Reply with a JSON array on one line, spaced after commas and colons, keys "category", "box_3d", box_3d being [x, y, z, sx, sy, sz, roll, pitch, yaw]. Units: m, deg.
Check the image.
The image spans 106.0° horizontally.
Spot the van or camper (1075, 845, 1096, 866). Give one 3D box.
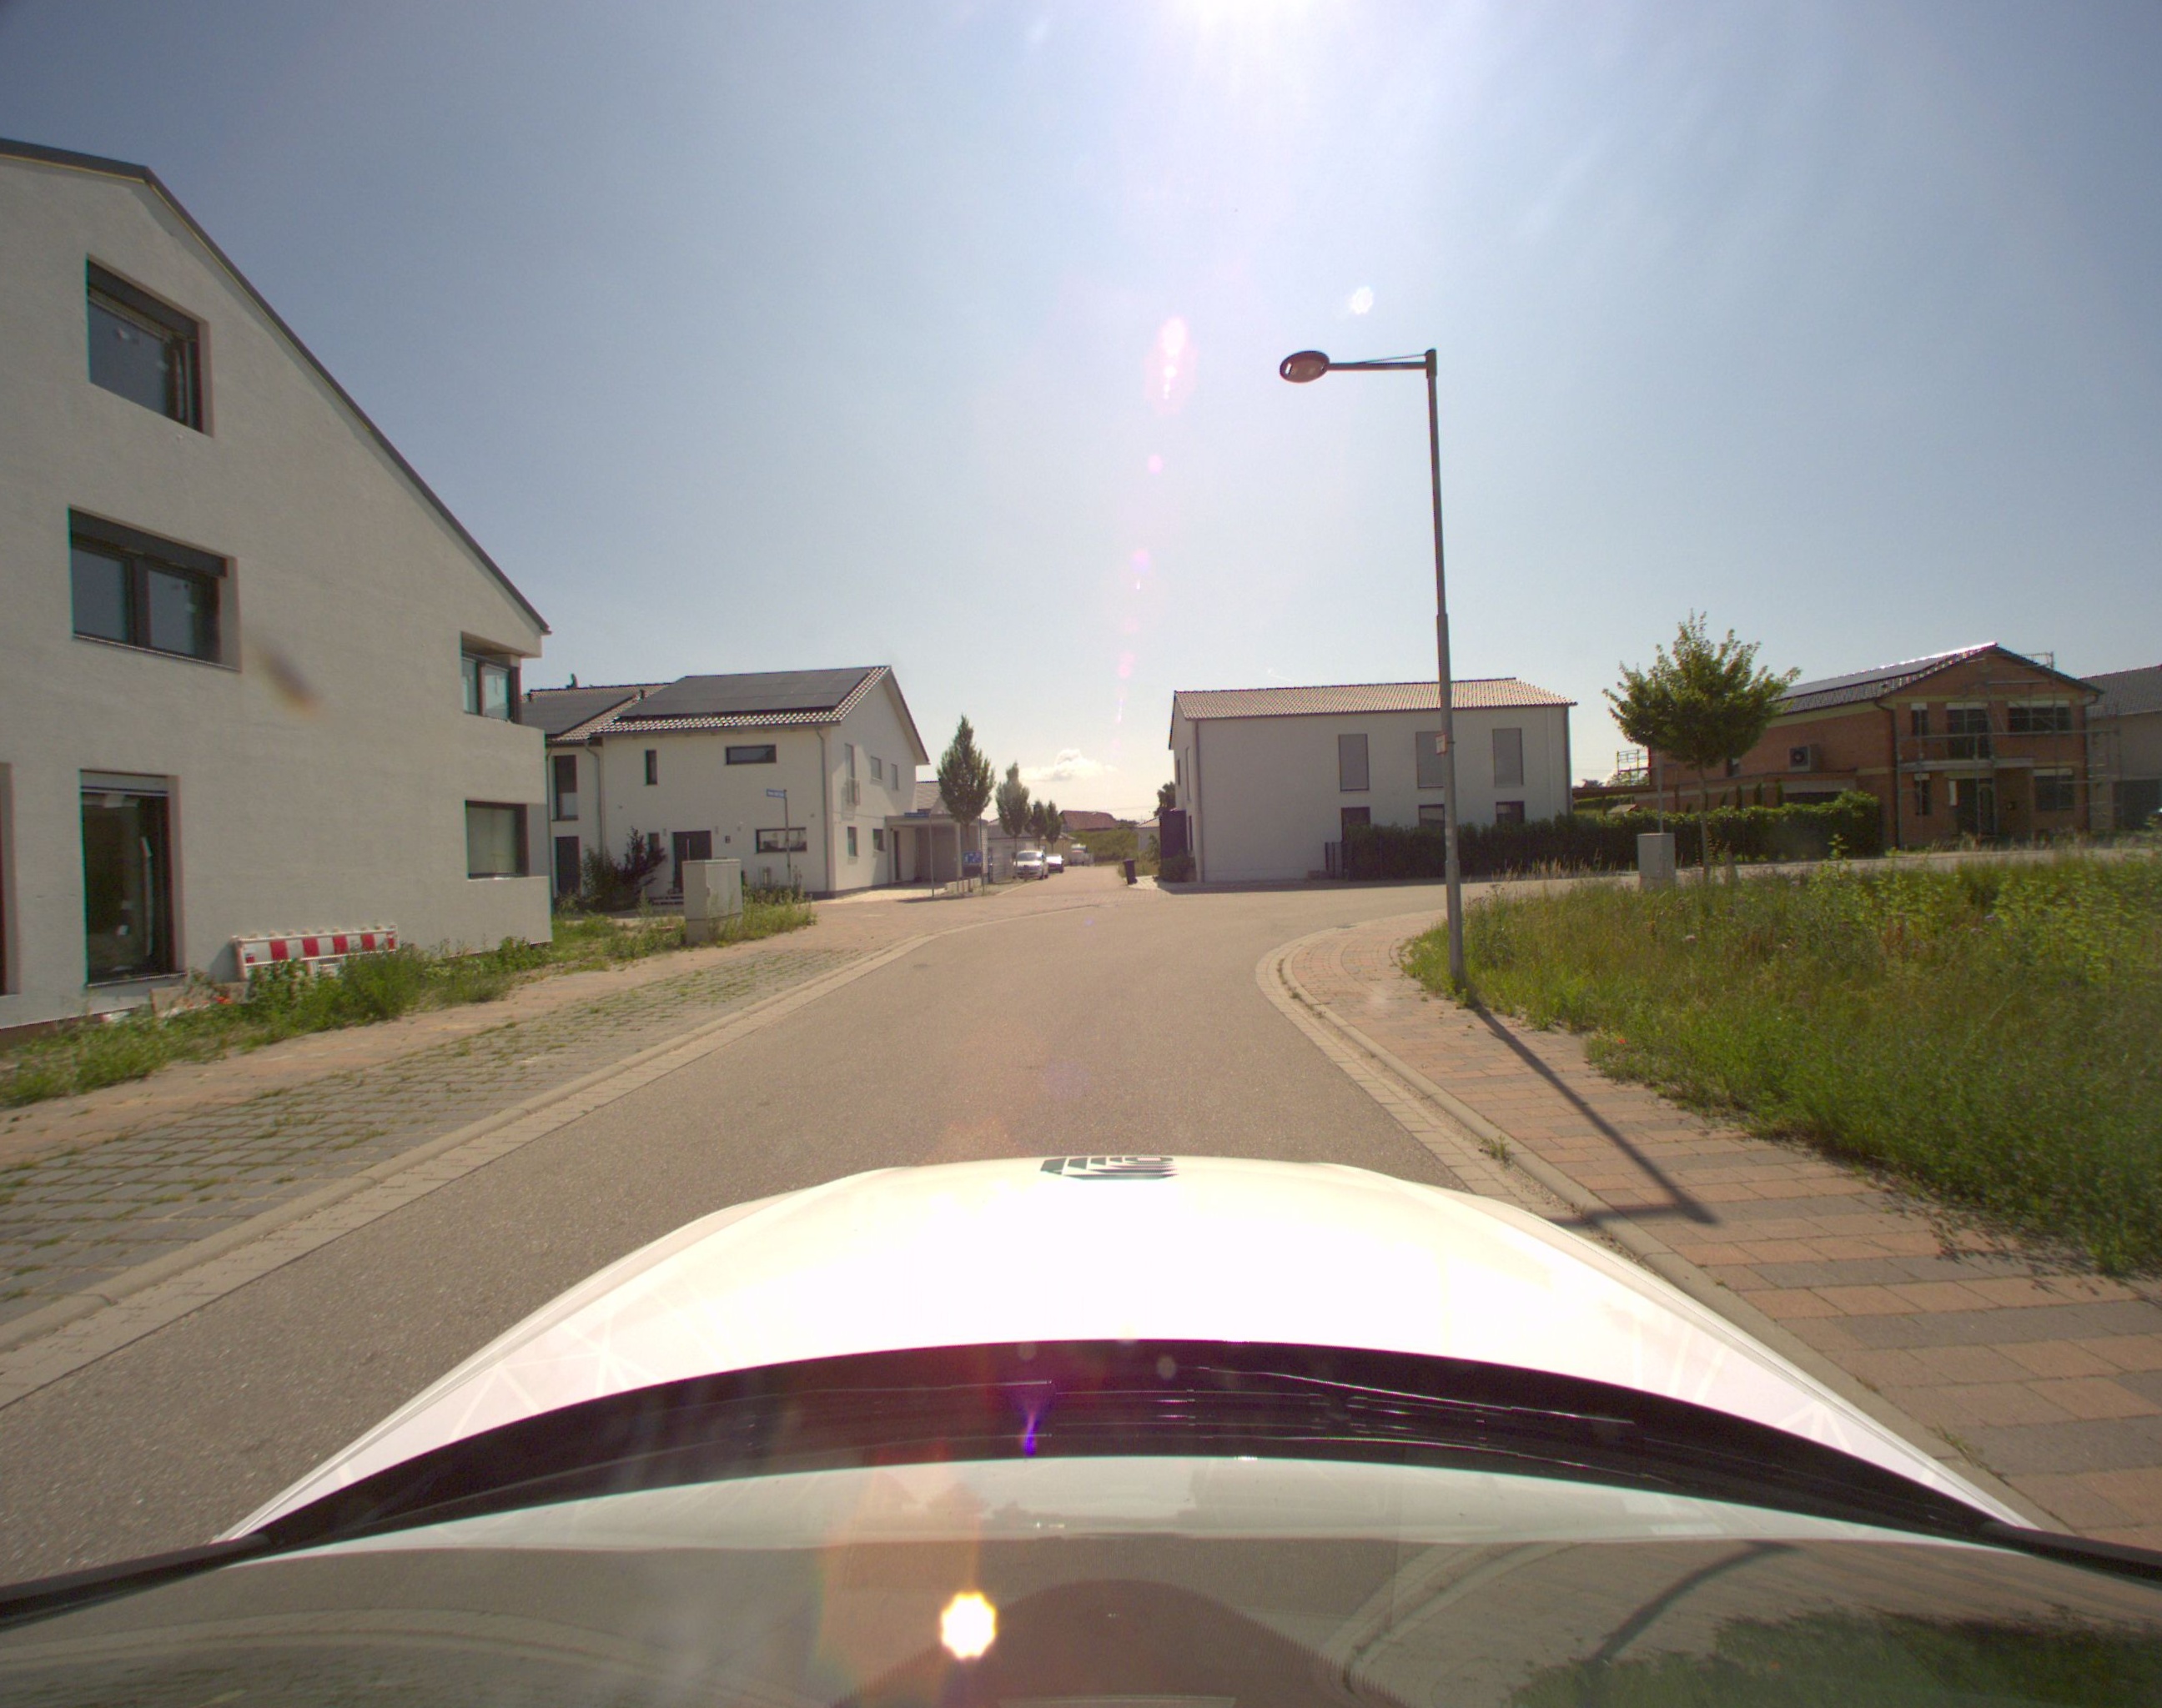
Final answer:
[{"category": "van or camper", "box_3d": [0.612, 0.189, 97.316, 2.254, 2.411, 4.848, -1, 0, 3]}]

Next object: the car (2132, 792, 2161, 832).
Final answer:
[{"category": "car", "box_3d": [45.629, -1.787, 32.295, 1.993, 1.612, 4.425, -3, 0, -9]}]

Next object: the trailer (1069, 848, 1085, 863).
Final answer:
[{"category": "trailer", "box_3d": [-0.419, 0.182, 89.971, 1.620, 1.614, 2.563, -1, 0, 3]}]

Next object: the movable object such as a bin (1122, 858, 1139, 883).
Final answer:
[{"category": "movable object such as a bin", "box_3d": [1.952, 0.663, 32.220, 0.597, 0.948, 0.501, -3, 0, 2]}]

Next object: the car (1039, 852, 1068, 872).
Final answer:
[{"category": "car", "box_3d": [-2.307, 0.704, 68.709, 1.985, 1.614, 4.488, -1, 0, 3]}]

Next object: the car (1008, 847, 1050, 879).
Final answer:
[{"category": "car", "box_3d": [-3.070, 0.546, 49.226, 1.985, 1.790, 4.651, -1, 0, 3]}]
